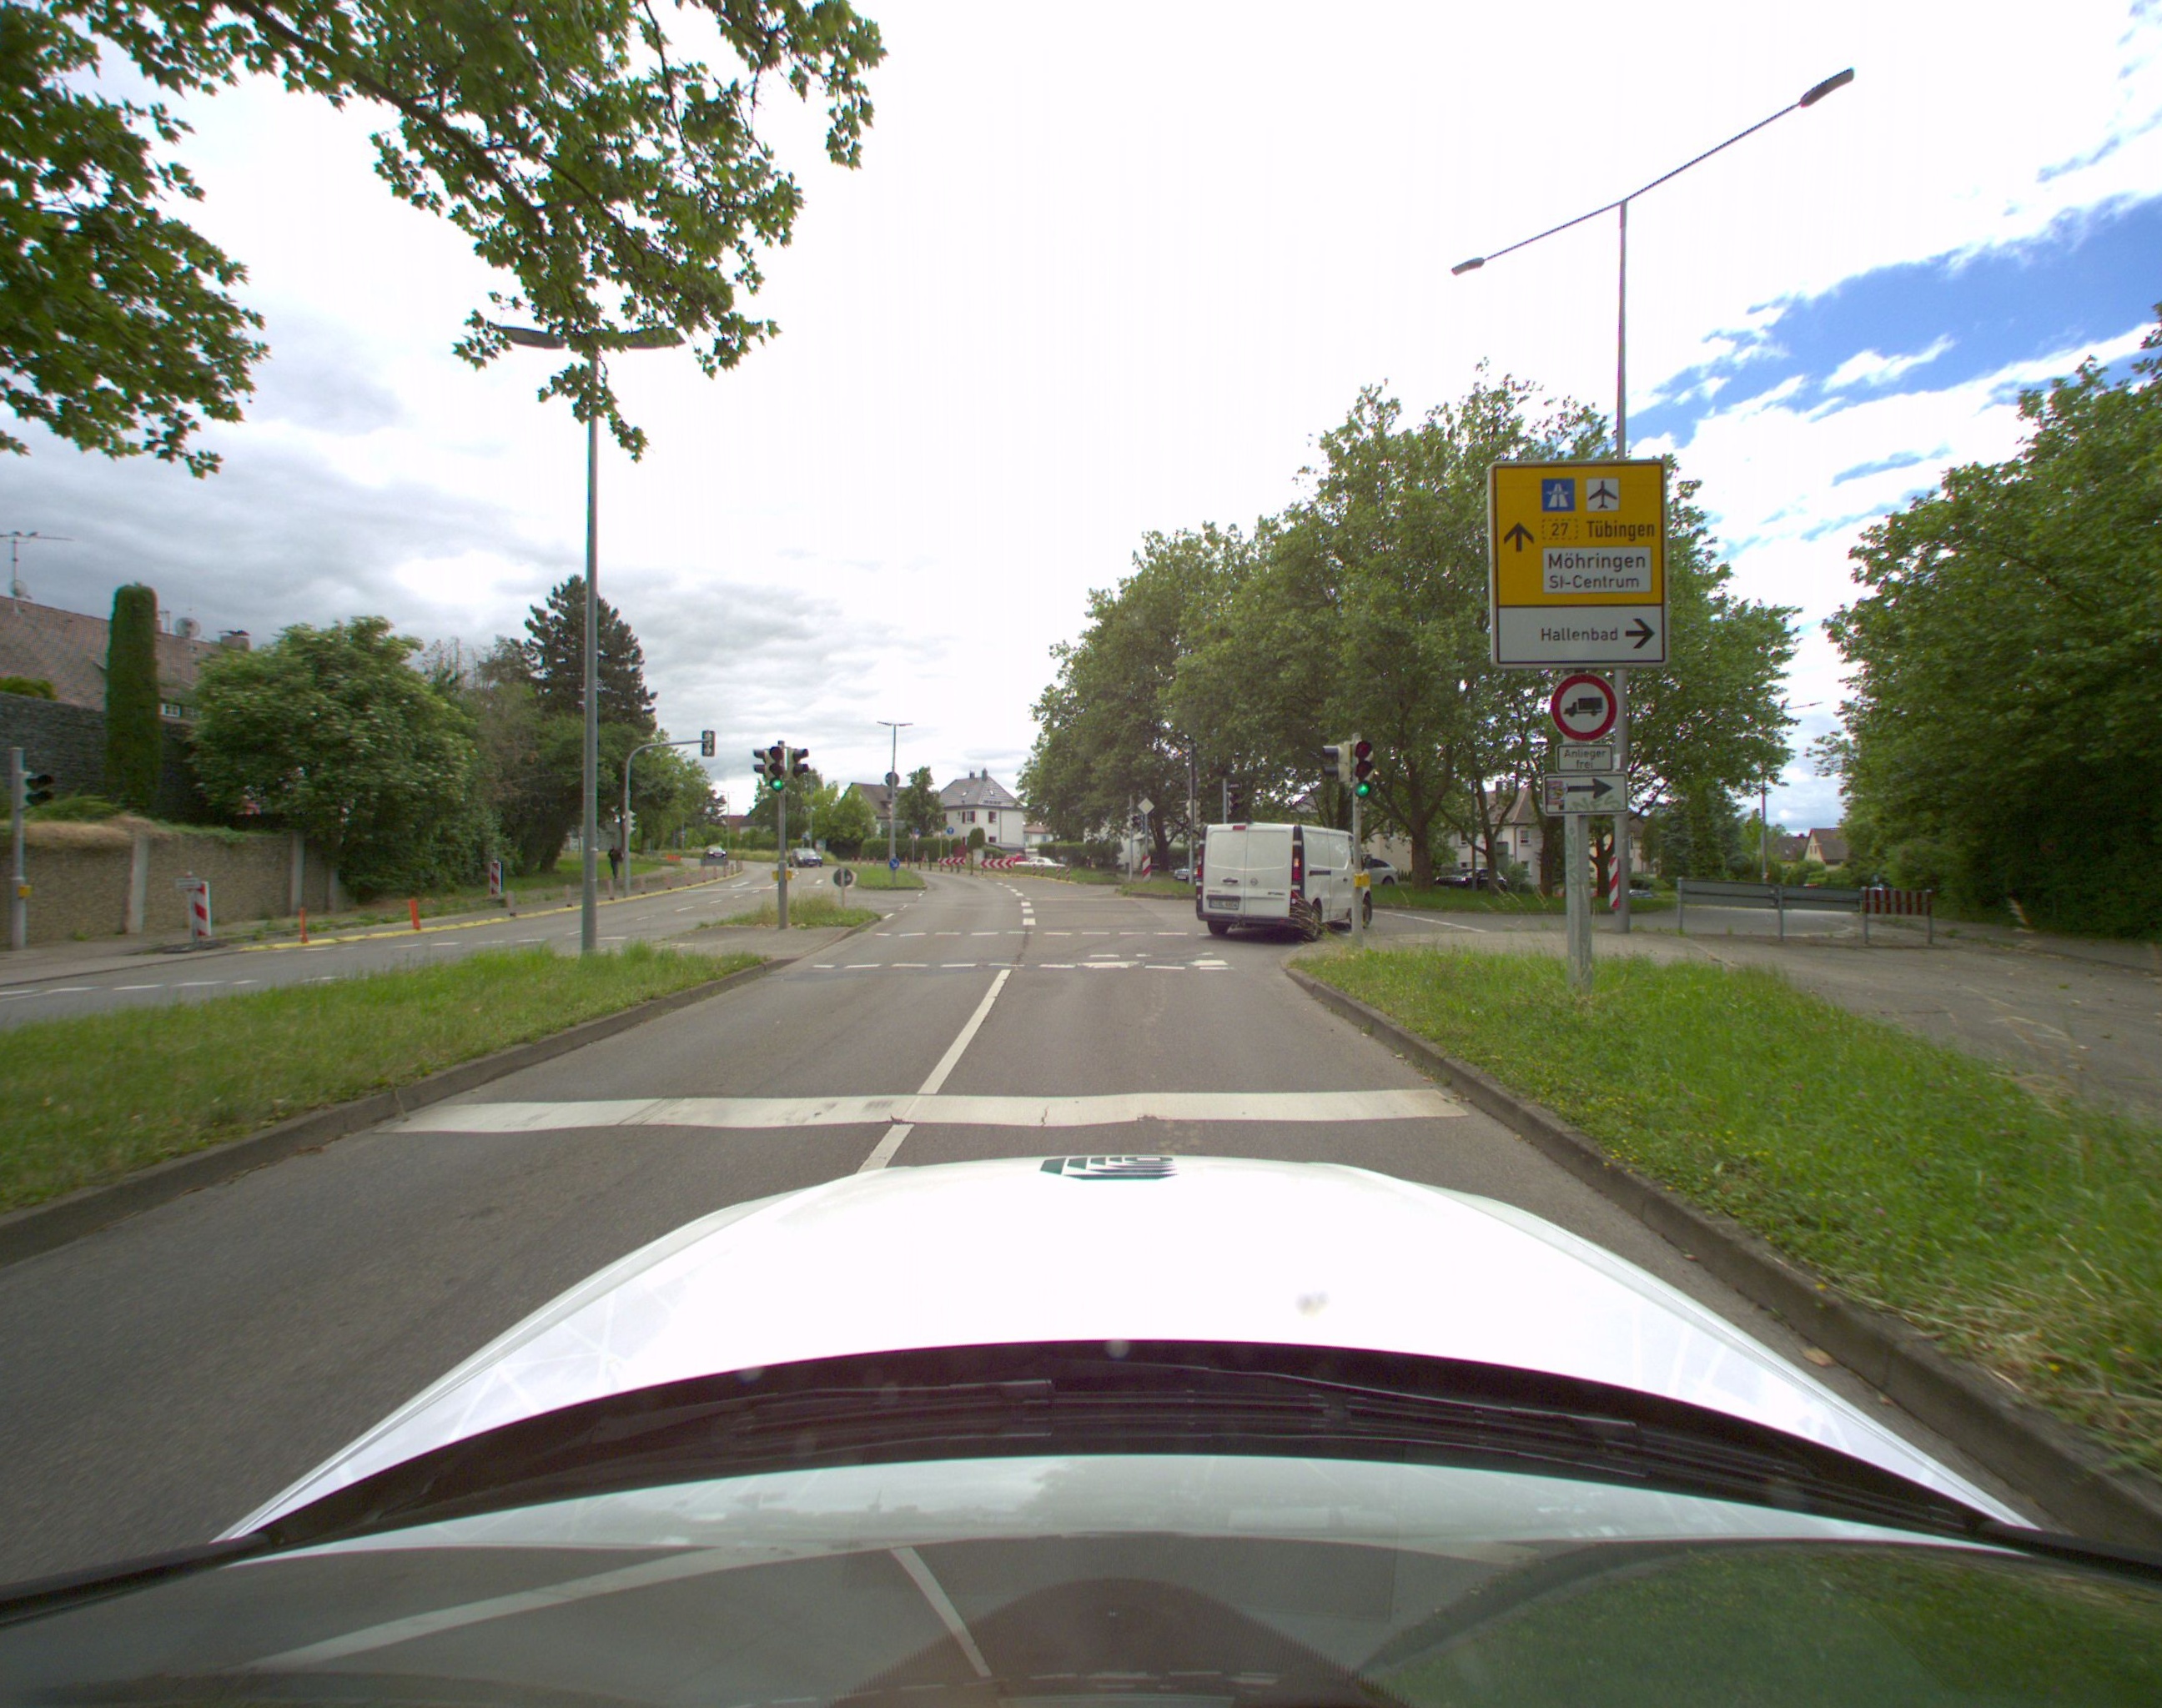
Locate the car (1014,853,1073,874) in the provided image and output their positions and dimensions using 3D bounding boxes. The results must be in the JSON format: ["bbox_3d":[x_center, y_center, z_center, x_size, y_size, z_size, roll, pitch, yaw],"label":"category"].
[{"bbox_3d":[-3.337,0.821,73.007,4.822,1.791,2.230,0,0,27],"label":"car"}]

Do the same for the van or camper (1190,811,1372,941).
[{"bbox_3d":[3.907,0.347,15.199,1.905,2.013,4.859,0,0,32],"label":"van or camper"}]

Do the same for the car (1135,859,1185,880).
[{"bbox_3d":[6.680,1.322,68.748,3.954,1.514,1.669,3,1,16],"label":"car"}]

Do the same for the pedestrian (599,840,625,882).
[{"bbox_3d":[-22.842,0.339,39.656,0.953,2.013,0.848,1,0,-22],"label":"pedestrian"}]

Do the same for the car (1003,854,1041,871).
[{"bbox_3d":[-5.842,0.820,80.525,1.589,1.517,3.848,1,-2,35],"label":"car"}]

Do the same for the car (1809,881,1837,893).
[{"bbox_3d":[114.204,5.036,125.438,1.744,1.797,4.976,0,-2,25],"label":"car"}]

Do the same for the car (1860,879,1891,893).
[{"bbox_3d":[84.966,3.411,87.151,1.710,1.474,3.402,0,-2,33],"label":"car"}]

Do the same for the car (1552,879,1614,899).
[{"bbox_3d":[40.793,2.841,66.173,4.265,1.474,1.726,2,-2,-11],"label":"car"}]

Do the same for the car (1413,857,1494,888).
[{"bbox_3d":[20.188,0.953,44.077,4.629,1.591,1.745,0,0,-32],"label":"car"}]

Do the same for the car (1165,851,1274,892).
[{"bbox_3d":[5.790,0.745,33.797,4.401,1.517,1.745,3,-2,-32],"label":"car"}]

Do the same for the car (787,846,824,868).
[{"bbox_3d":[-21.577,0.240,63.707,1.852,1.631,4.218,-2,1,-32],"label":"car"}]

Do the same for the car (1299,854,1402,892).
[{"bbox_3d":[12.554,0.846,37.809,4.923,1.658,1.839,0,0,-32],"label":"car"}]
